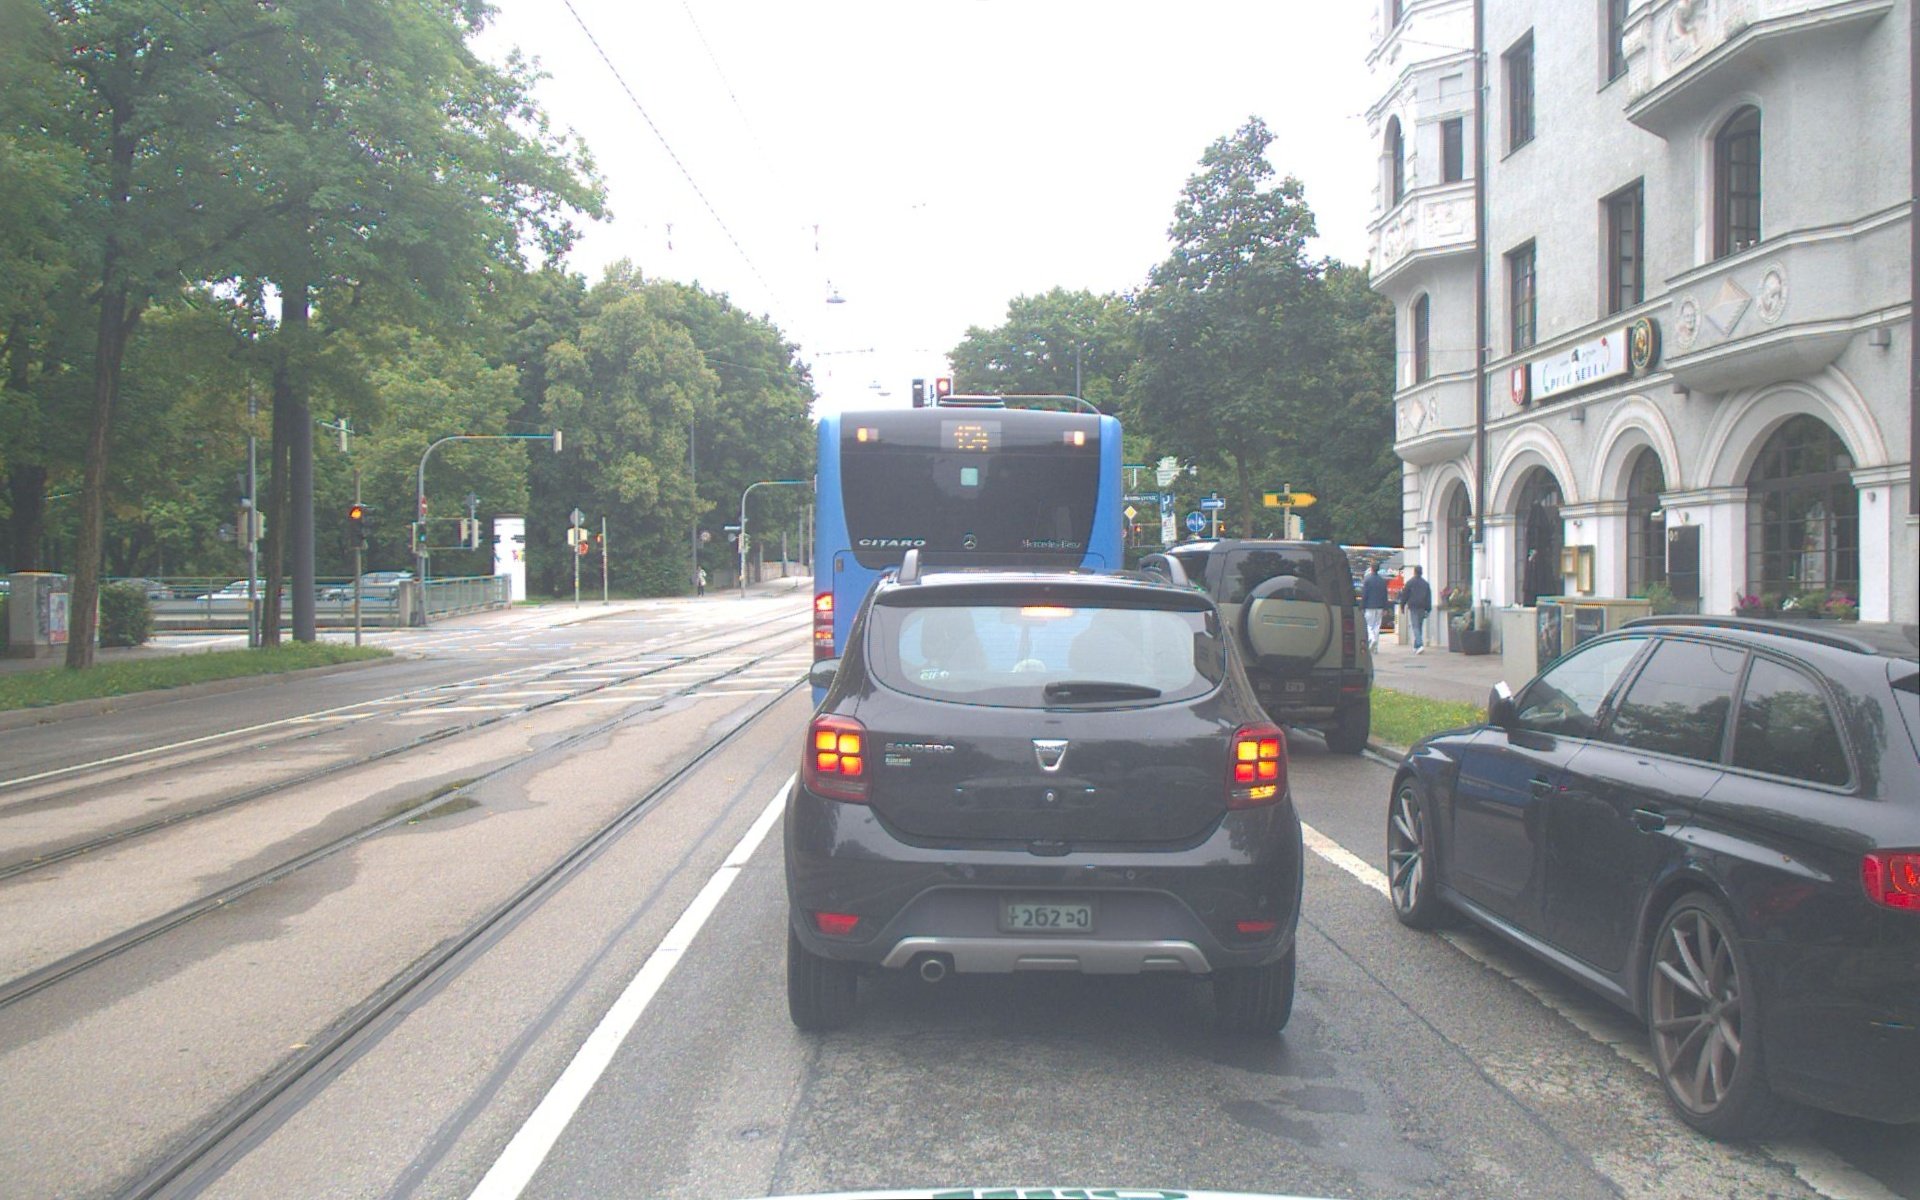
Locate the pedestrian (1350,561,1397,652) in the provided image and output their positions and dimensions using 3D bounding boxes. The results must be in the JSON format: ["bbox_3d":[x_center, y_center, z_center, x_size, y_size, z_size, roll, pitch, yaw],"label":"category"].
[{"bbox_3d":[8.500,0.129,34.025,0.690,1.848,0.869,1,0,-1],"label":"pedestrian"}]

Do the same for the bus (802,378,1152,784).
[{"bbox_3d":[-0.017,-0.157,16.176,2.625,3.050,6.957,1,0,-3],"label":"bus"}]

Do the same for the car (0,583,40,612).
[{"bbox_3d":[-41.945,-0.143,71.378,3.656,1.206,1.249,1,0,-6],"label":"car"}]

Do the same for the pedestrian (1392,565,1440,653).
[{"bbox_3d":[9.239,0.178,33.530,0.690,1.762,0.843,1,0,-1],"label":"pedestrian"}]

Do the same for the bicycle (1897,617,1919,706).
[{"bbox_3d":[10.459,0.665,17.782,0.254,0.947,0.886,1,0,0],"label":"bicycle"}]

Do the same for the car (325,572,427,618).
[{"bbox_3d":[-25.729,-0.216,72.957,3.946,1.920,1.488,1,0,-8],"label":"car"}]

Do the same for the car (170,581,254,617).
[{"bbox_3d":[-32.597,-0.060,72.109,3.050,1.477,1.249,1,0,-6],"label":"car"}]

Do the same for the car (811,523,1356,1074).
[{"bbox_3d":[0.326,0.579,6.614,1.568,1.584,3.524,1,0,-1],"label":"car"}]

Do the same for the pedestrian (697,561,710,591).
[{"bbox_3d":[-13.298,-1.232,85.754,0.520,1.527,0.588,1,0,4],"label":"pedestrian"}]

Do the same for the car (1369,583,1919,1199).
[{"bbox_3d":[2.921,0.698,5.864,1.681,1.451,4.601,1,0,-1],"label":"car"}]

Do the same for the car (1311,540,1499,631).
[{"bbox_3d":[13.842,-0.438,51.638,5.191,2.658,2.229,1,0,-4],"label":"car"}]

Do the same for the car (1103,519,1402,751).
[{"bbox_3d":[2.704,0.292,16.504,1.876,1.939,4.805,1,0,-3],"label":"car"}]

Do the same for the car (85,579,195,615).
[{"bbox_3d":[-35.611,-0.128,71.891,3.848,1.429,1.719,1,0,-5],"label":"car"}]

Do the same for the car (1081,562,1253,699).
[{"bbox_3d":[2.674,0.366,22.229,1.679,1.619,4.326,1,0,-1],"label":"car"}]
